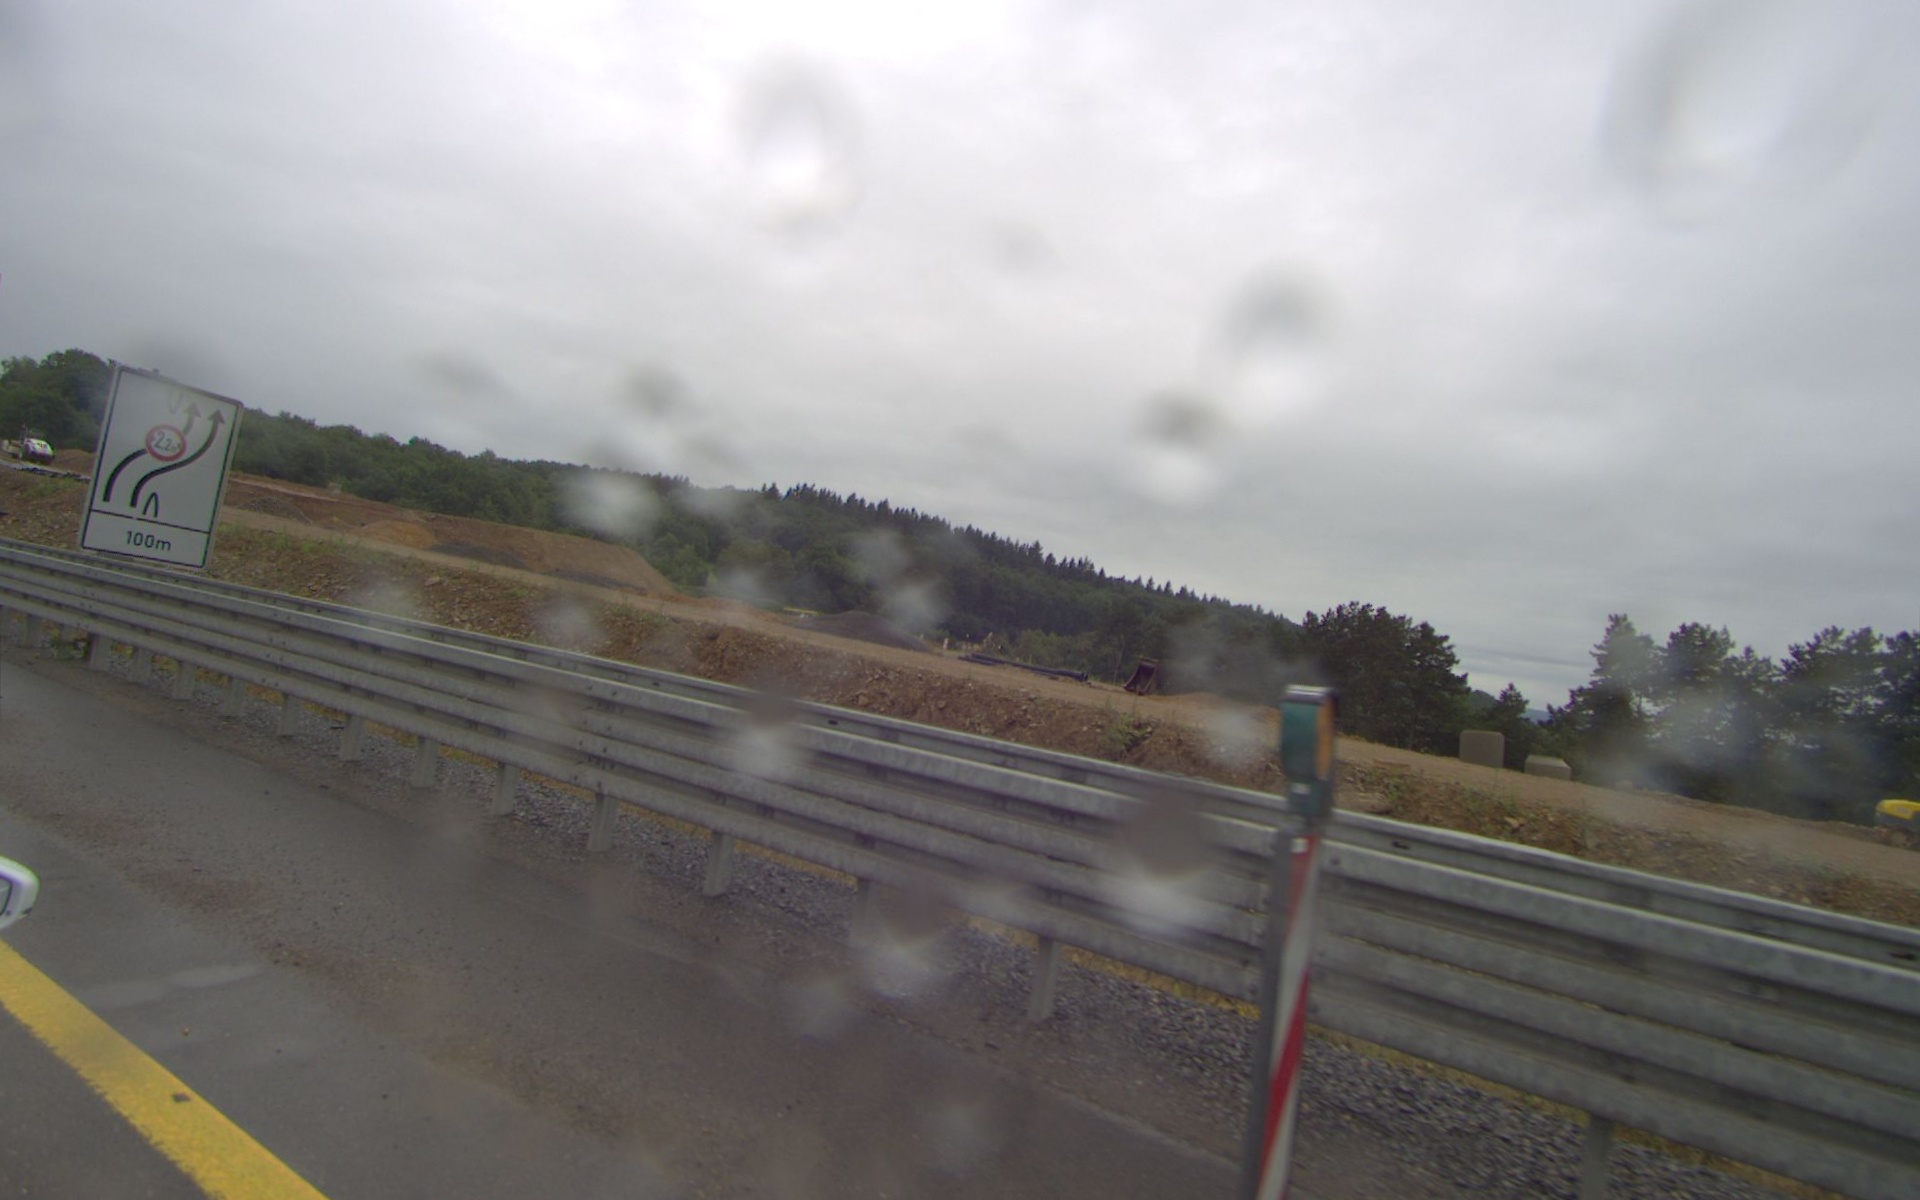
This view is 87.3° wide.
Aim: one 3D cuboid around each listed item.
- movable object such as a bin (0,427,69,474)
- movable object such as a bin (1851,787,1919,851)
[{"bbox_3d":[-85.356,-13.799,92.723,6.446,3.641,2.347,7,-1,28],"label":"movable object such as a bin"},{"bbox_3d":[24.733,5.726,25.615,2.659,1.316,1.391,7,-2,27],"label":"movable object such as a bin"}]
